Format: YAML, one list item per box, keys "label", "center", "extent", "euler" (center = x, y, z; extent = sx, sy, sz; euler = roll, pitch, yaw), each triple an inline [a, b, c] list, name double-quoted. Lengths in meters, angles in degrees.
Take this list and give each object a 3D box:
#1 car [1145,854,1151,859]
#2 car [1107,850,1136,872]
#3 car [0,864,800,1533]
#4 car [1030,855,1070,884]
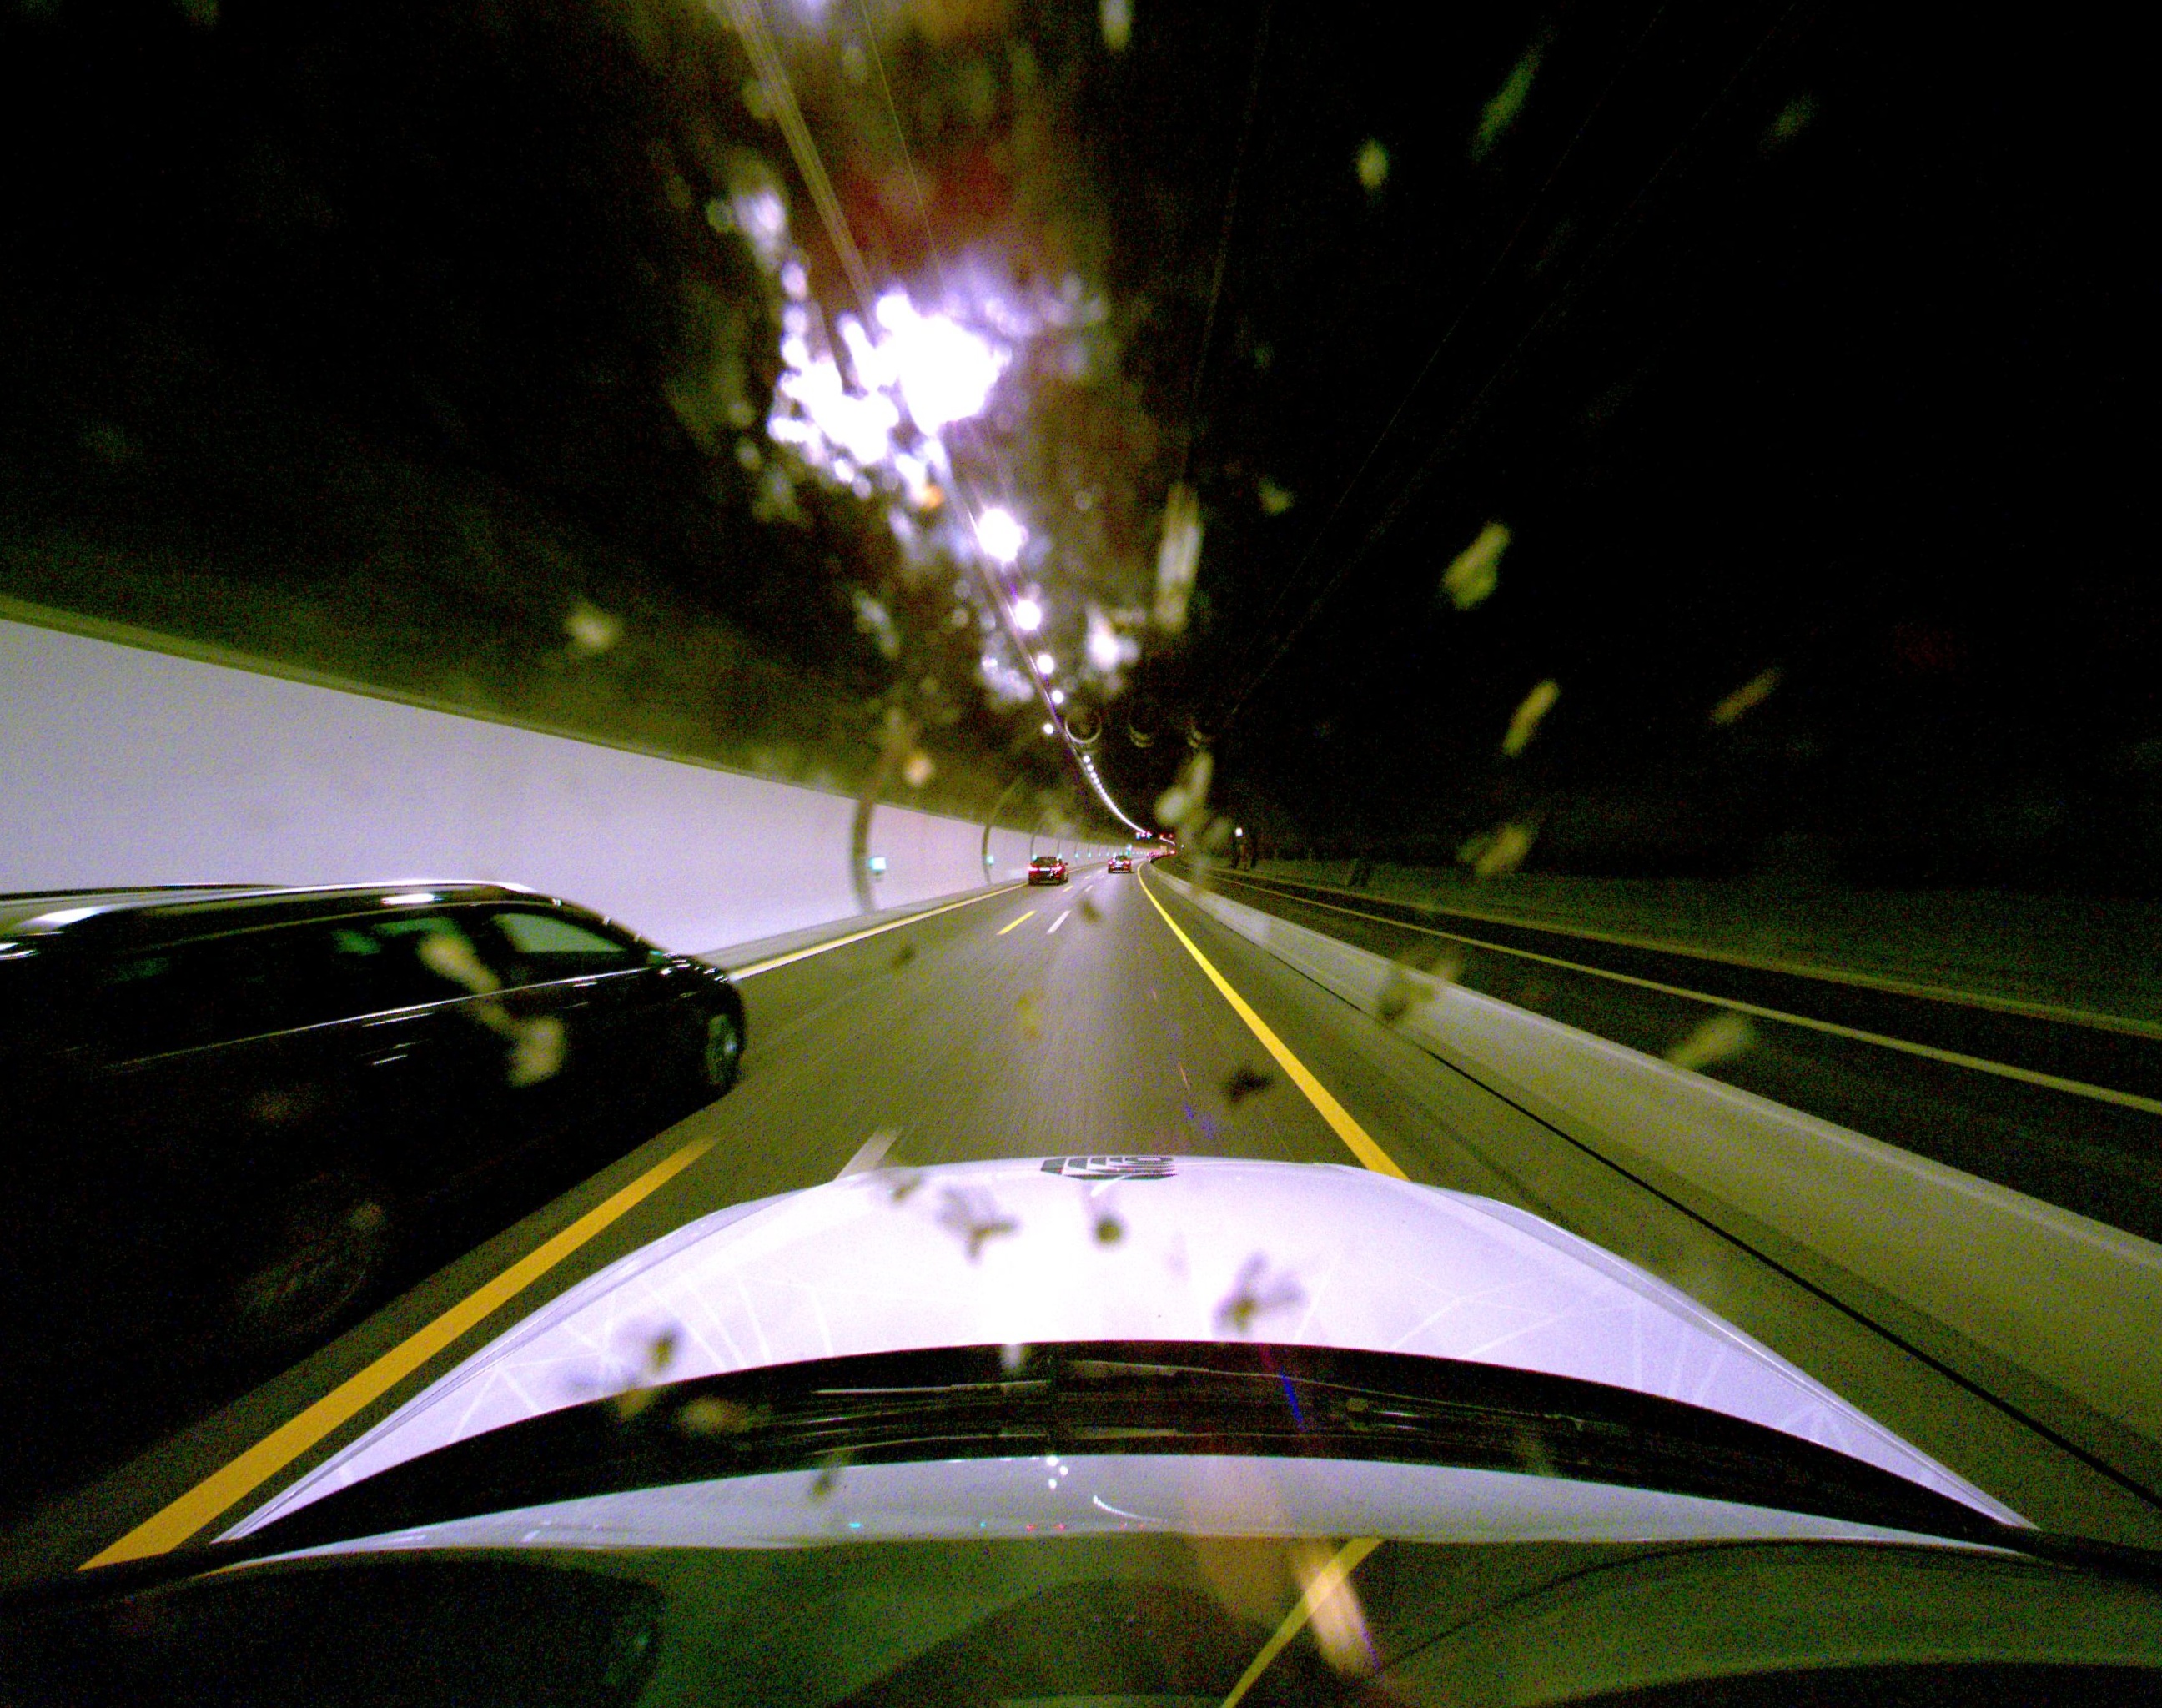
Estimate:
- label: "car"
  center: [18.337, 0.638, 221.735]
  extent: [1.588, 1.333, 3.755]
  euler: [-1, 0, 4]
- label: "car"
  center: [3.314, 0.550, 66.127]
  extent: [2.131, 1.706, 4.006]
  euler: [-1, 0, 5]
- label: "car"
  center: [-3.208, 0.806, 3.949]
  extent: [1.771, 1.438, 4.886]
  euler: [-1, 0, 3]
- label: "car"
  center: [-1.590, 0.792, 43.170]
  extent: [1.771, 1.438, 4.884]
  euler: [0, 0, 2]
